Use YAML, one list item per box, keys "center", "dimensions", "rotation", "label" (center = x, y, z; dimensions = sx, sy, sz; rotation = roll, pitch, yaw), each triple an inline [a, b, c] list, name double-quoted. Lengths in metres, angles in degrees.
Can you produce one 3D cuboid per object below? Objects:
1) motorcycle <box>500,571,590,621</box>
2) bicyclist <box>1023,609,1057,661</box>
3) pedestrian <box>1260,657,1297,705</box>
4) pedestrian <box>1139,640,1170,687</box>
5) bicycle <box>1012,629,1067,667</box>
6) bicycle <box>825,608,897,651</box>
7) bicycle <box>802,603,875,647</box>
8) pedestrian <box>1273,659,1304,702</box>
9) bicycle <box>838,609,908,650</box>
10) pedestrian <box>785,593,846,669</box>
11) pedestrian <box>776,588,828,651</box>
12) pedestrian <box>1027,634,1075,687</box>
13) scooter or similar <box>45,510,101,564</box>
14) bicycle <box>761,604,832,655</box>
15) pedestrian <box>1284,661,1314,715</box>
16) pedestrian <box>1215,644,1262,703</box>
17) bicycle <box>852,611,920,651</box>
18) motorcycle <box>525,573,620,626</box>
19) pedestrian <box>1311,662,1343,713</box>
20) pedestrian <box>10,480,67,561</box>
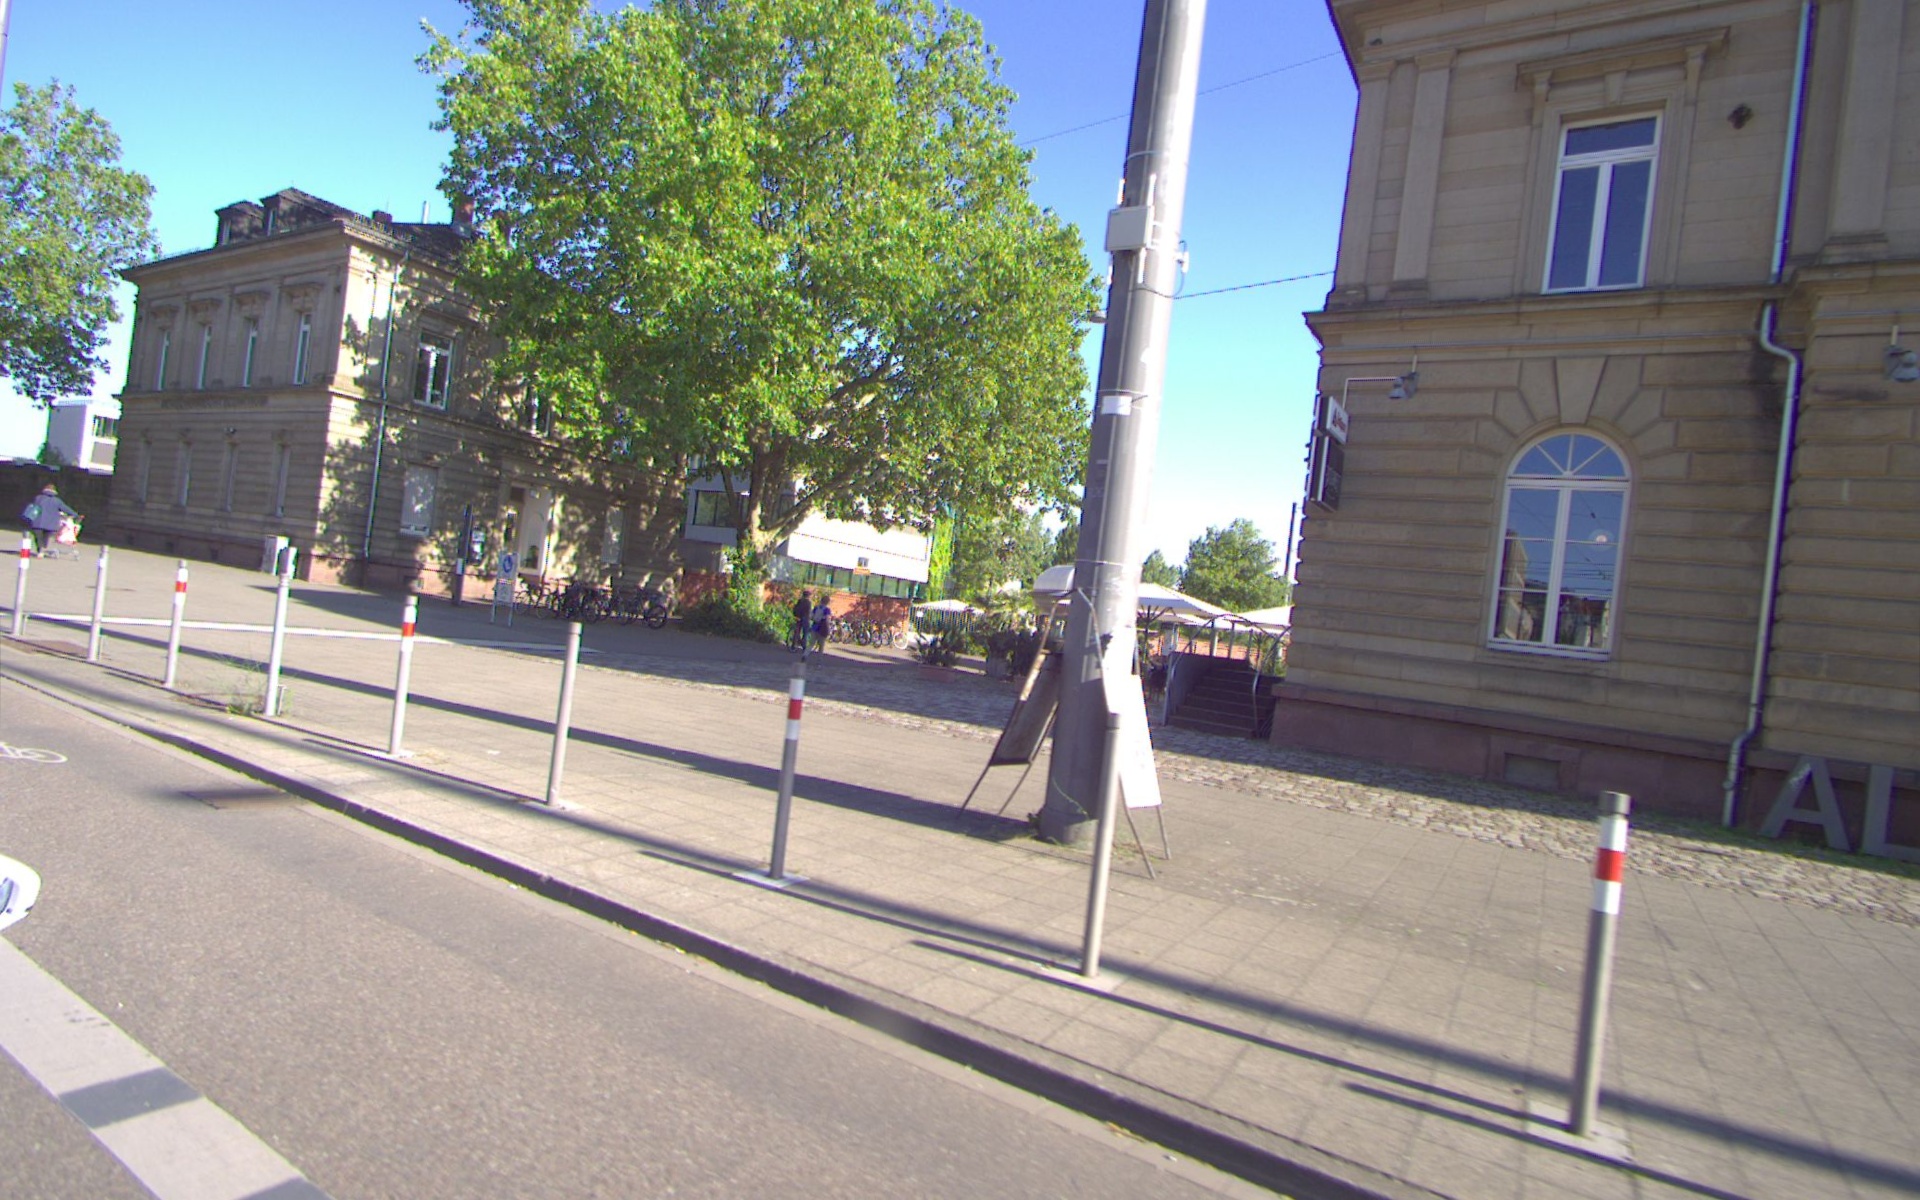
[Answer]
- center: [-11.675, -0.094, 28.347]
  dimensions: [0.874, 1.115, 2.076]
  rotation: [6, -2, 39]
  label: "motorcycle"
- center: [3.300, 1.461, 41.664]
  dimensions: [0.769, 2.037, 0.987]
  rotation: [6, -1, 38]
  label: "bicyclist"
- center: [10.643, 2.694, 33.628]
  dimensions: [0.828, 1.485, 0.661]
  rotation: [7, 2, 42]
  label: "pedestrian"
- center: [6.496, 2.103, 33.567]
  dimensions: [0.653, 1.485, 0.837]
  rotation: [7, 1, 30]
  label: "pedestrian"
- center: [3.337, 1.998, 41.781]
  dimensions: [0.771, 1.293, 2.659]
  rotation: [6, -2, 40]
  label: "bicycle"
- center: [-3.807, 1.129, 38.603]
  dimensions: [2.623, 1.293, 0.781]
  rotation: [6, -1, 28]
  label: "bicycle"
- center: [-4.549, 0.925, 37.520]
  dimensions: [2.623, 1.293, 0.781]
  rotation: [6, -1, 28]
  label: "bicycle"
- center: [12.046, 2.946, 36.909]
  dimensions: [0.825, 1.485, 0.663]
  rotation: [7, 1, 29]
  label: "pedestrian"
- center: [-3.446, 1.152, 39.674]
  dimensions: [2.623, 1.293, 0.781]
  rotation: [6, -1, 28]
  label: "bicycle"
- center: [-3.715, 0.802, 25.916]
  dimensions: [1.018, 1.811, 0.998]
  rotation: [6, 1, 21]
  label: "pedestrian"
- center: [-4.704, 0.592, 30.021]
  dimensions: [1.018, 1.767, 0.998]
  rotation: [6, 1, 21]
  label: "pedestrian"
- center: [2.631, 1.754, 29.196]
  dimensions: [0.769, 1.397, 0.986]
  rotation: [5, 2, -45]
  label: "pedestrian"
- center: [-21.390, -1.516, 24.259]
  dimensions: [0.746, 1.170, 0.719]
  rotation: [7, 1, 27]
  label: "scooter or similar"
- center: [-4.840, 0.916, 30.094]
  dimensions: [0.767, 1.293, 2.671]
  rotation: [6, -2, 20]
  label: "bicycle"
- center: [10.056, 2.592, 29.827]
  dimensions: [0.652, 1.485, 0.839]
  rotation: [6, 1, 22]
  label: "pedestrian"
- center: [9.082, 2.380, 32.829]
  dimensions: [1.019, 1.767, 0.998]
  rotation: [6, 1, -5]
  label: "pedestrian"
- center: [-2.988, 1.241, 40.438]
  dimensions: [2.623, 1.293, 0.781]
  rotation: [6, -1, 28]
  label: "bicycle"
- center: [-10.783, 0.002, 28.059]
  dimensions: [0.874, 1.173, 2.219]
  rotation: [6, -2, 40]
  label: "motorcycle"
- center: [11.479, 2.715, 31.454]
  dimensions: [0.653, 1.485, 0.837]
  rotation: [7, 1, 30]
  label: "pedestrian"
- center: [-21.564, -1.847, 23.555]
  dimensions: [0.764, 1.767, 0.789]
  rotation: [5, 2, -33]
  label: "pedestrian"
